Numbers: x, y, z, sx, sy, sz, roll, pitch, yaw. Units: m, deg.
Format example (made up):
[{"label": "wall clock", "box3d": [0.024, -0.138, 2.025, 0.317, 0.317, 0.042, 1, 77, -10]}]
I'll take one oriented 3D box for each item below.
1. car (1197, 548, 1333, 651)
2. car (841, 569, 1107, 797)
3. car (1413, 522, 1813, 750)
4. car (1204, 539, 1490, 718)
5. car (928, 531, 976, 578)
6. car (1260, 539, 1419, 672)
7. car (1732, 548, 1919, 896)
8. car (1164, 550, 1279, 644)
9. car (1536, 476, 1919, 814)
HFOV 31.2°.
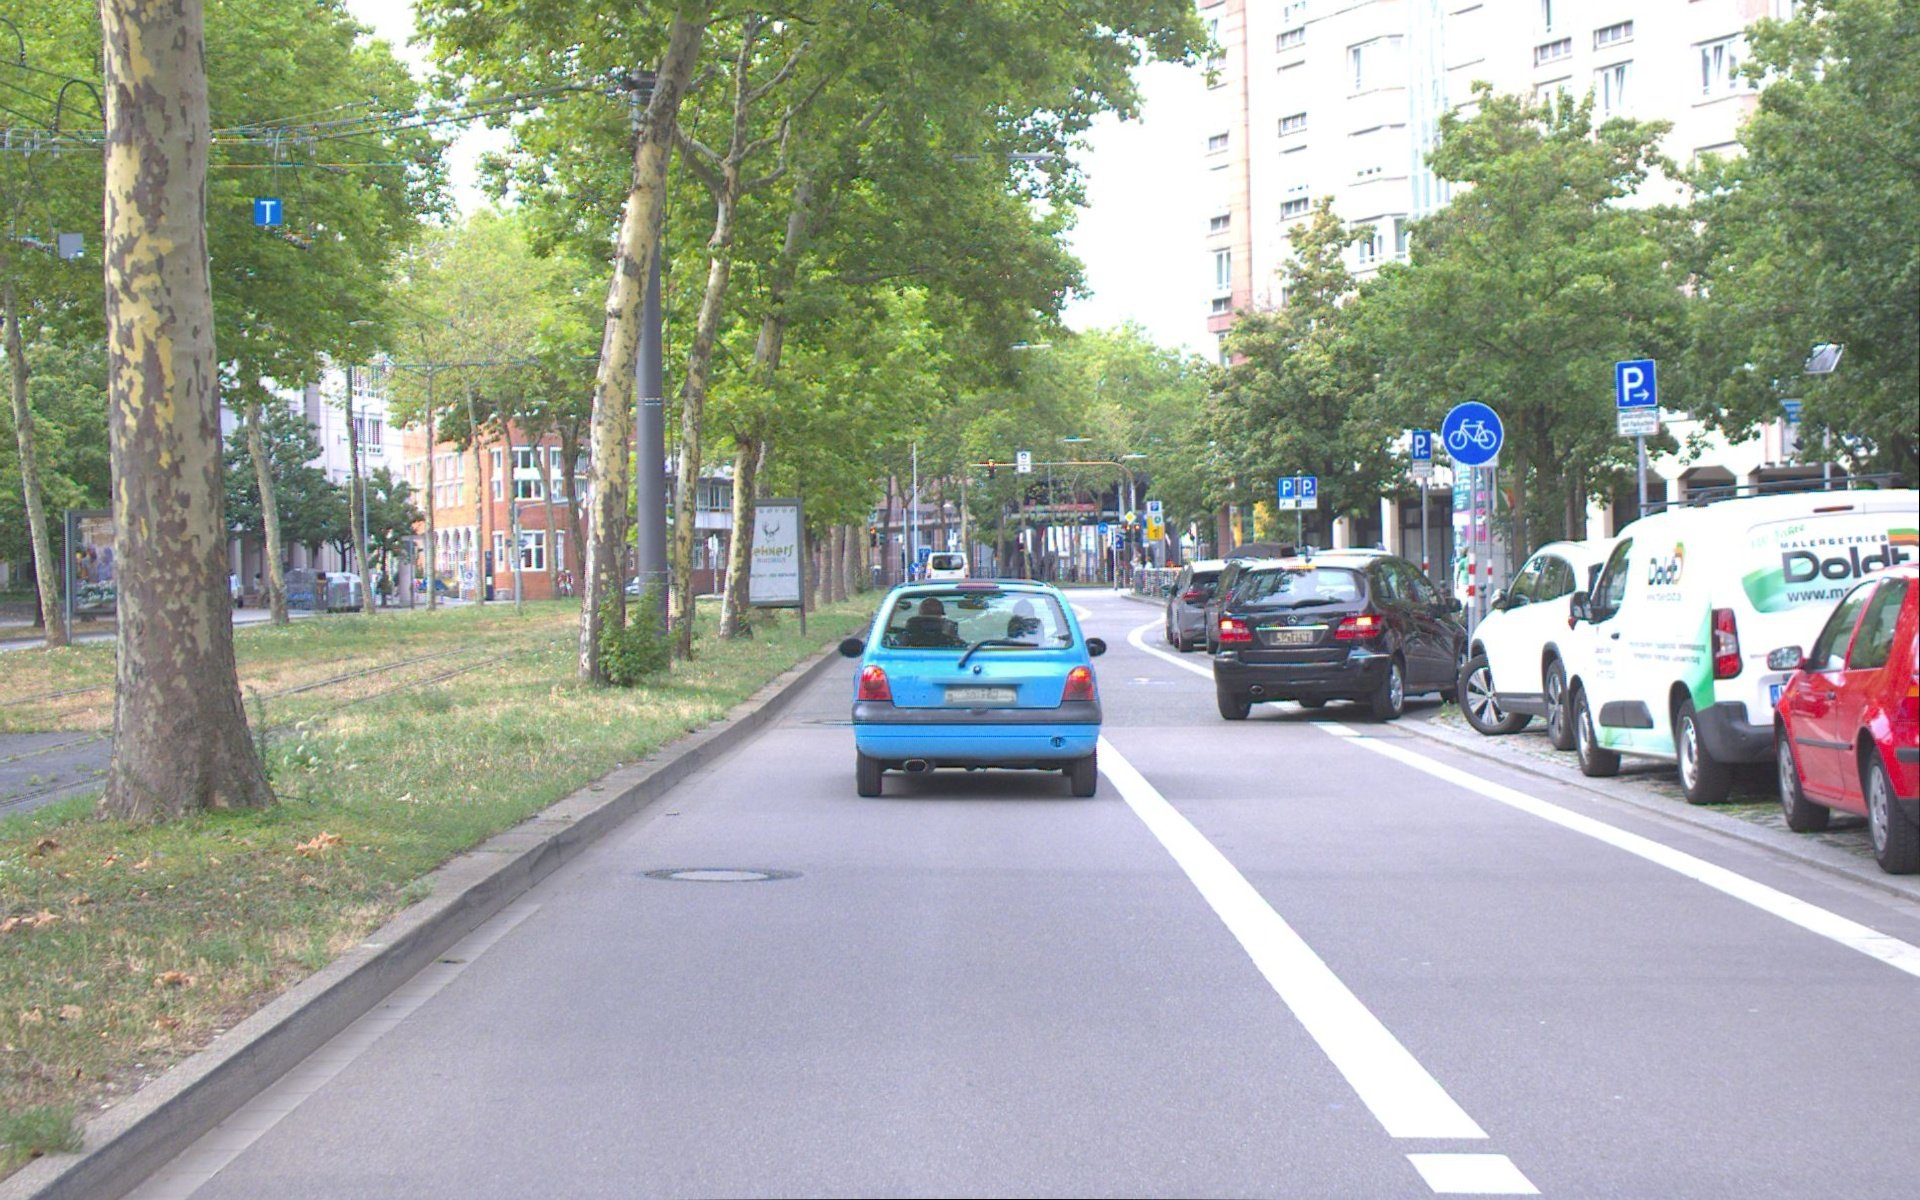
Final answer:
[{"label": "car", "box3d": [4.849, -0.041, 55.142, 1.715, 1.513, 4.204, -3, 1, -1]}, {"label": "car", "box3d": [0.114, 0.496, 23.162, 1.640, 1.381, 3.843, 0, 1, 1]}, {"label": "car", "box3d": [5.248, 0.233, 28.302, 1.994, 1.597, 4.584, -4, 1, -5]}, {"label": "car", "box3d": [3.962, 0.242, 34.538, 1.777, 1.571, 4.300, -3, 1, 21]}, {"label": "car", "box3d": [-0.323, -1.924, 144.638, 1.932, 1.919, 4.956, -1, 1, 0]}, {"label": "car", "box3d": [5.049, 0.035, 46.177, 1.861, 1.647, 4.163, -2, 1, 3]}, {"label": "car", "box3d": [5.036, 0.477, 16.941, 1.722, 1.428, 4.253, -3, 1, 4]}, {"label": "car", "box3d": [4.548, -0.088, 60.288, 1.740, 1.513, 4.401, -2, 1, 1]}, {"label": "car", "box3d": [5.091, 0.203, 21.864, 1.826, 1.858, 4.648, -3, 1, -2]}]
